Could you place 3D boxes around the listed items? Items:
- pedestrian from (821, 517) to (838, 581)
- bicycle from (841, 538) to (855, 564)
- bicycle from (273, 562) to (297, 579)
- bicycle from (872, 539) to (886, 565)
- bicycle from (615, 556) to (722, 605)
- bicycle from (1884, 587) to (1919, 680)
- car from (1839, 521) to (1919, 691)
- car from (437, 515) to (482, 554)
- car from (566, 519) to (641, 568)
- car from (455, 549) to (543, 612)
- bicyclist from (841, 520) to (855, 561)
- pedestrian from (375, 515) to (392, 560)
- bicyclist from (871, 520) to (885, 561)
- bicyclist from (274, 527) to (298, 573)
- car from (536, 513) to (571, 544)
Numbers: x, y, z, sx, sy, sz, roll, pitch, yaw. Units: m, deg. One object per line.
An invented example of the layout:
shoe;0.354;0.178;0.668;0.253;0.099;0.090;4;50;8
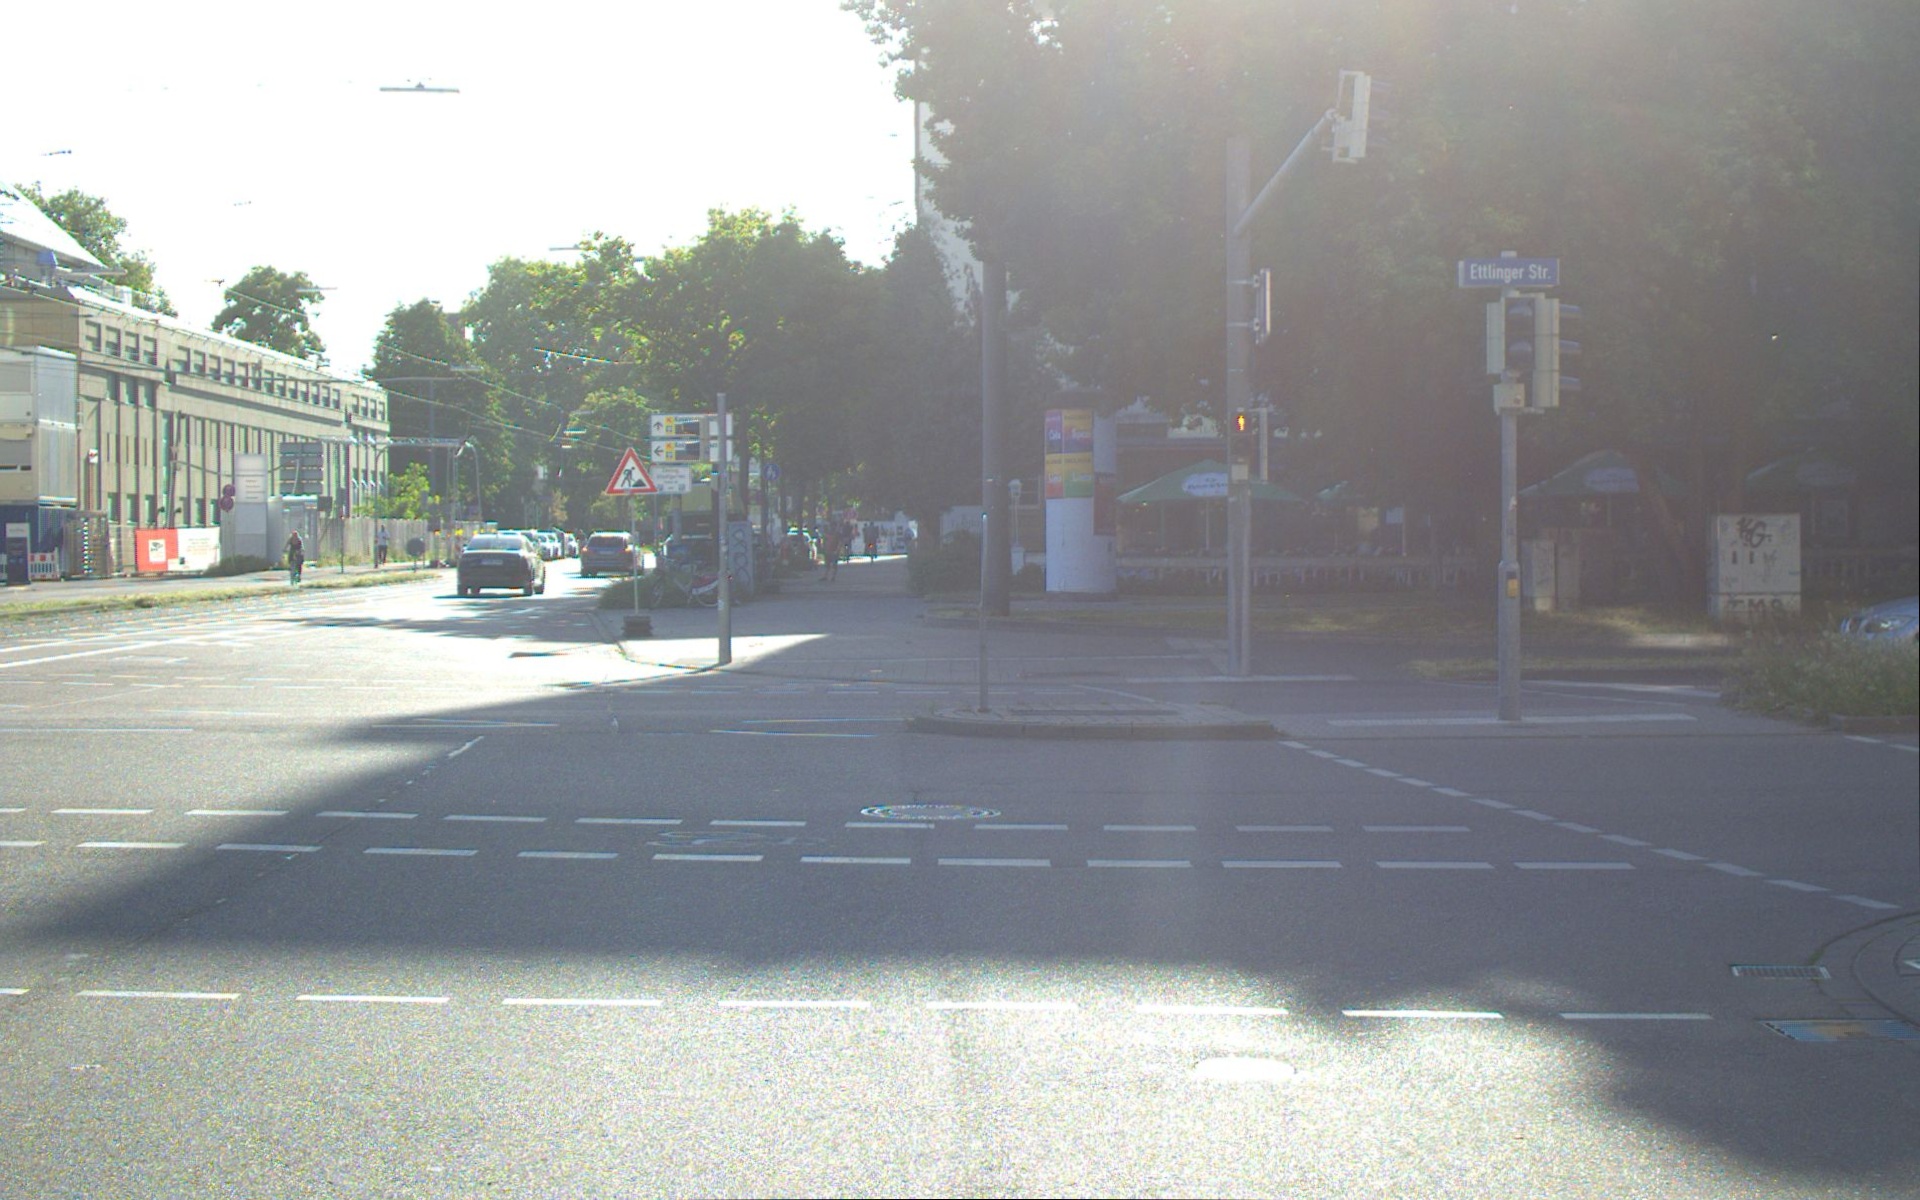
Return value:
pedestrian;-3.714;-1.443;97.713;0.463;1.807;0.503;0;1;-5
bicycle;-4.664;-2.036;143.416;0.575;1.073;1.831;0;1;-1
bicycle;-20.431;-0.896;104.139;0.501;0.513;1.258;1;1;-1
bicycle;-3.393;-2.016;143.385;0.575;1.073;1.831;0;1;-1
bicycle;-5.723;-0.380;67.474;2.018;0.888;0.650;-2;0;27
bicycle;10.575;0.345;35.981;1.667;0.960;0.533;0;1;5
car;10.759;0.025;33.404;3.993;1.605;1.650;-1;1;-1
car;-22.763;-2.962;156.439;1.692;1.712;4.248;1;1;-4
car;-12.038;-1.922;116.282;1.892;1.560;4.808;3;1;1
car;-11.089;-0.490;82.904;1.660;1.450;4.433;1;1;-2
bicyclist;-4.675;-2.483;143.438;0.569;1.685;0.700;0;1;-1
pedestrian;-25.614;-2.766;152.752;0.674;2.007;0.751;1;0;-3
bicyclist;-3.414;-2.476;143.445;0.569;1.685;0.700;0;1;-1
bicyclist;-20.418;-1.515;104.157;0.596;1.372;0.638;1;0;-2
car;-23.000;-4.026;194.685;1.692;1.712;4.248;1;1;-4
